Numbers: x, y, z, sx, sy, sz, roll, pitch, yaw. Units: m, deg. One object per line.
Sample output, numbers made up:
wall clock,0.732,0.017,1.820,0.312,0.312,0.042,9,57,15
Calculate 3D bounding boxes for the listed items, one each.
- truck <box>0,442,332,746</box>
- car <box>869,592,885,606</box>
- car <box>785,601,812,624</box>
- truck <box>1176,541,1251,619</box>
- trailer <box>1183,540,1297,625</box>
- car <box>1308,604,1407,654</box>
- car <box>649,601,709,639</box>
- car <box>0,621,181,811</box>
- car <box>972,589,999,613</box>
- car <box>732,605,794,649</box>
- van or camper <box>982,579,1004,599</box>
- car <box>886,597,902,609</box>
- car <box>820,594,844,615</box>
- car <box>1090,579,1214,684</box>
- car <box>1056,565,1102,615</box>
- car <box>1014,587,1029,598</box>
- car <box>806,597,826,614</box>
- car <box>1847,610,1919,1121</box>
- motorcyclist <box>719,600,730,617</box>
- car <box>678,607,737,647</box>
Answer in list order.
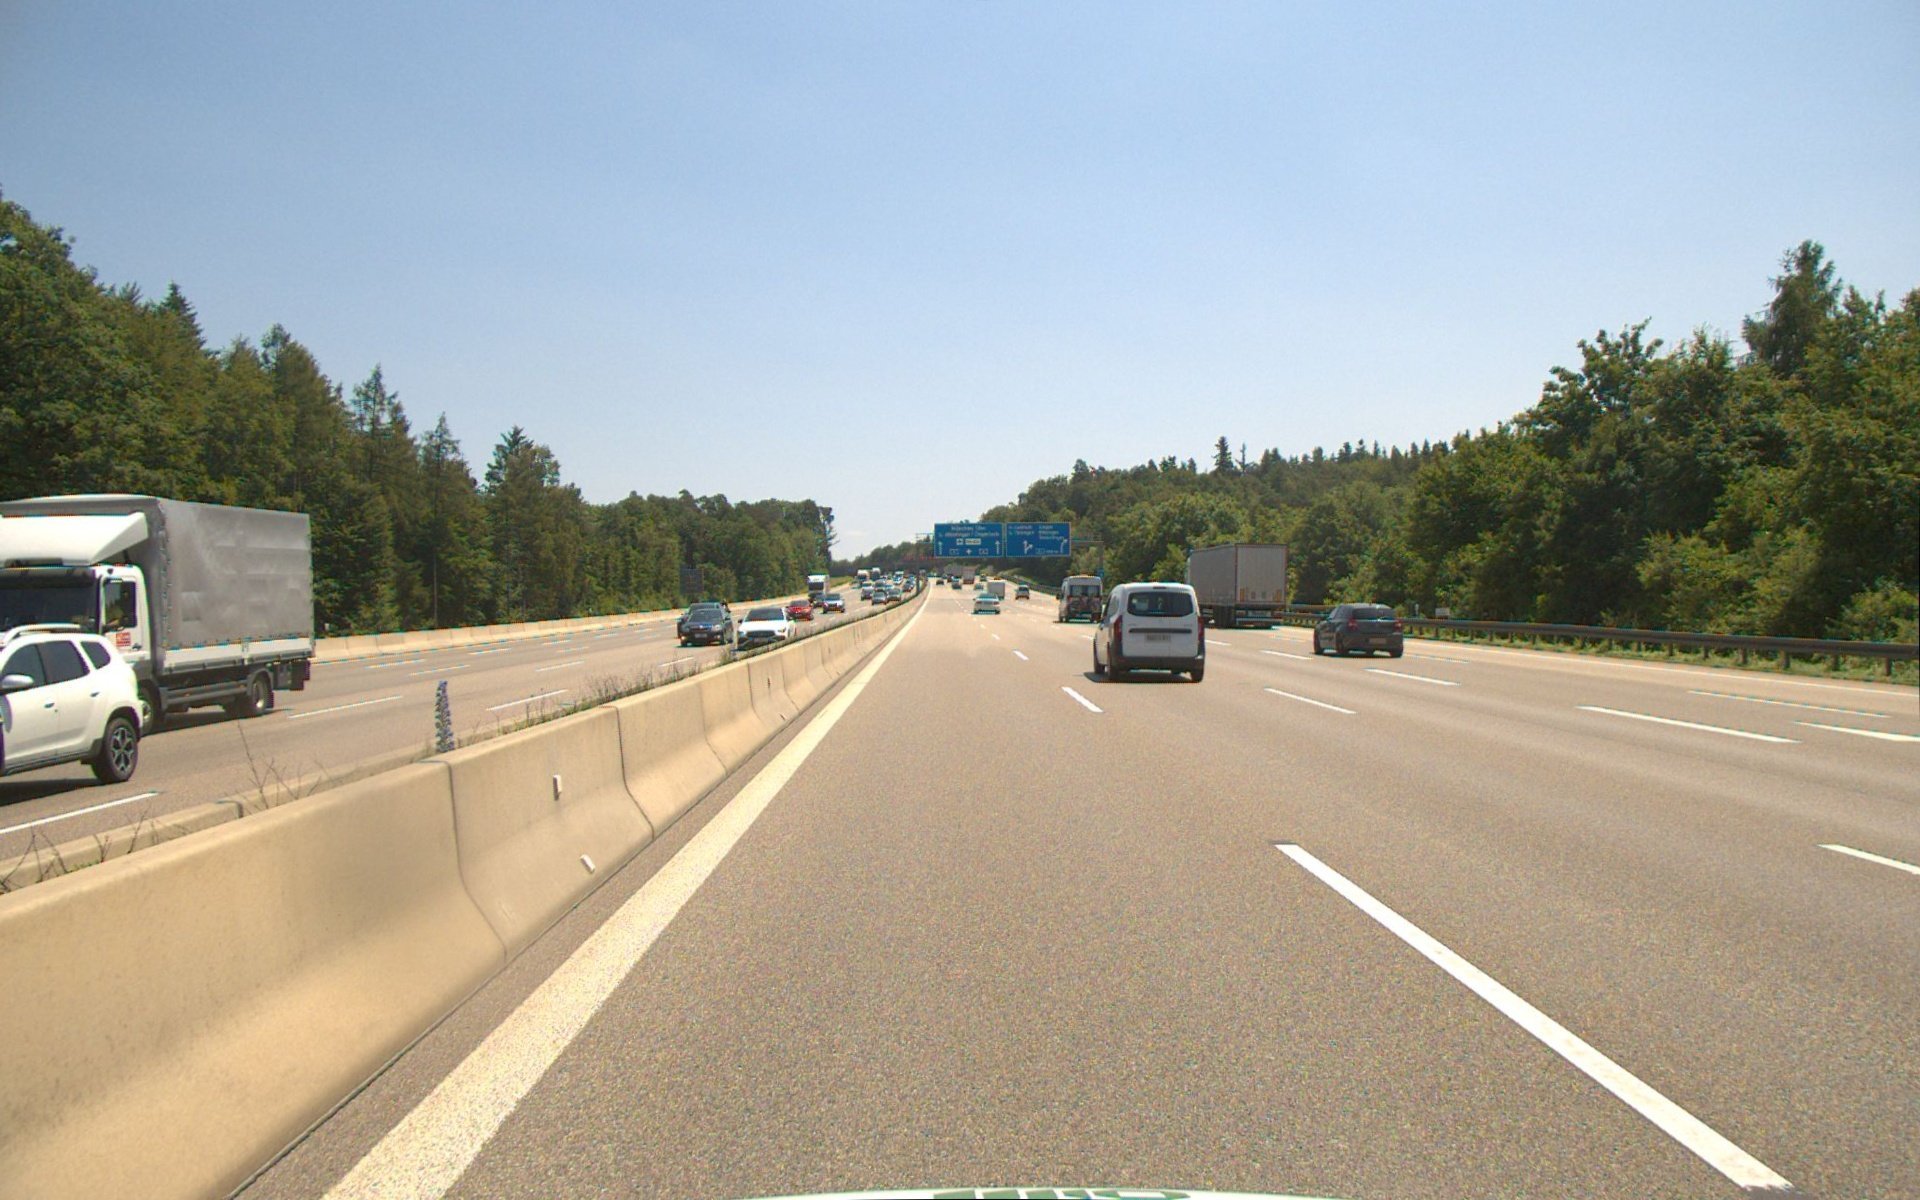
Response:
truck,-13.452,-0.053,27.029,2.800,4.083,9.466,-1,0,-1
car,-9.584,-0.080,190.968,1.682,1.538,4.350,-2,0,-1
car,-11.459,0.853,117.580,1.540,1.538,4.029,-2,0,-1
truck,14.153,-1.117,92.697,3.188,4.178,5.987,1,1,-1
trailer,14.334,-0.935,85.946,3.221,3.999,13.887,1,1,-1
car,10.845,0.802,45.343,1.636,1.296,4.289,0,-1,-1
car,-13.553,0.932,80.038,2.005,1.703,5.187,-2,0,0
car,-9.814,1.124,16.512,1.874,1.690,4.688,-2,0,-1
car,1.847,0.062,119.539,1.805,1.657,4.553,-2,0,0
car,-6.931,0.920,58.574,1.788,1.419,4.463,-1,0,-2
van or camper,4.343,-1.420,218.395,2.591,2.583,6.501,-1,0,-1
car,-8.179,0.337,204.677,1.717,1.401,4.490,-3,0,-1
car,-11.544,0.405,149.053,1.931,1.754,4.506,3,0,-2
car,3.644,0.568,32.188,1.822,1.857,4.612,-1,0,0
car,6.591,-0.581,92.083,2.100,2.698,5.709,0,1,-1
car,8.150,-1.028,220.597,1.798,1.361,3.642,-2,0,-1
car,-16.091,0.641,184.640,1.931,1.754,4.506,3,0,-2
car,3.624,0.778,2.698,1.694,1.472,4.961,0,0,0
motorcyclist,-18.867,0.664,132.553,0.745,1.324,1.077,-2,0,-1
car,-10.028,1.037,65.915,1.668,1.452,4.612,-2,0,-1
